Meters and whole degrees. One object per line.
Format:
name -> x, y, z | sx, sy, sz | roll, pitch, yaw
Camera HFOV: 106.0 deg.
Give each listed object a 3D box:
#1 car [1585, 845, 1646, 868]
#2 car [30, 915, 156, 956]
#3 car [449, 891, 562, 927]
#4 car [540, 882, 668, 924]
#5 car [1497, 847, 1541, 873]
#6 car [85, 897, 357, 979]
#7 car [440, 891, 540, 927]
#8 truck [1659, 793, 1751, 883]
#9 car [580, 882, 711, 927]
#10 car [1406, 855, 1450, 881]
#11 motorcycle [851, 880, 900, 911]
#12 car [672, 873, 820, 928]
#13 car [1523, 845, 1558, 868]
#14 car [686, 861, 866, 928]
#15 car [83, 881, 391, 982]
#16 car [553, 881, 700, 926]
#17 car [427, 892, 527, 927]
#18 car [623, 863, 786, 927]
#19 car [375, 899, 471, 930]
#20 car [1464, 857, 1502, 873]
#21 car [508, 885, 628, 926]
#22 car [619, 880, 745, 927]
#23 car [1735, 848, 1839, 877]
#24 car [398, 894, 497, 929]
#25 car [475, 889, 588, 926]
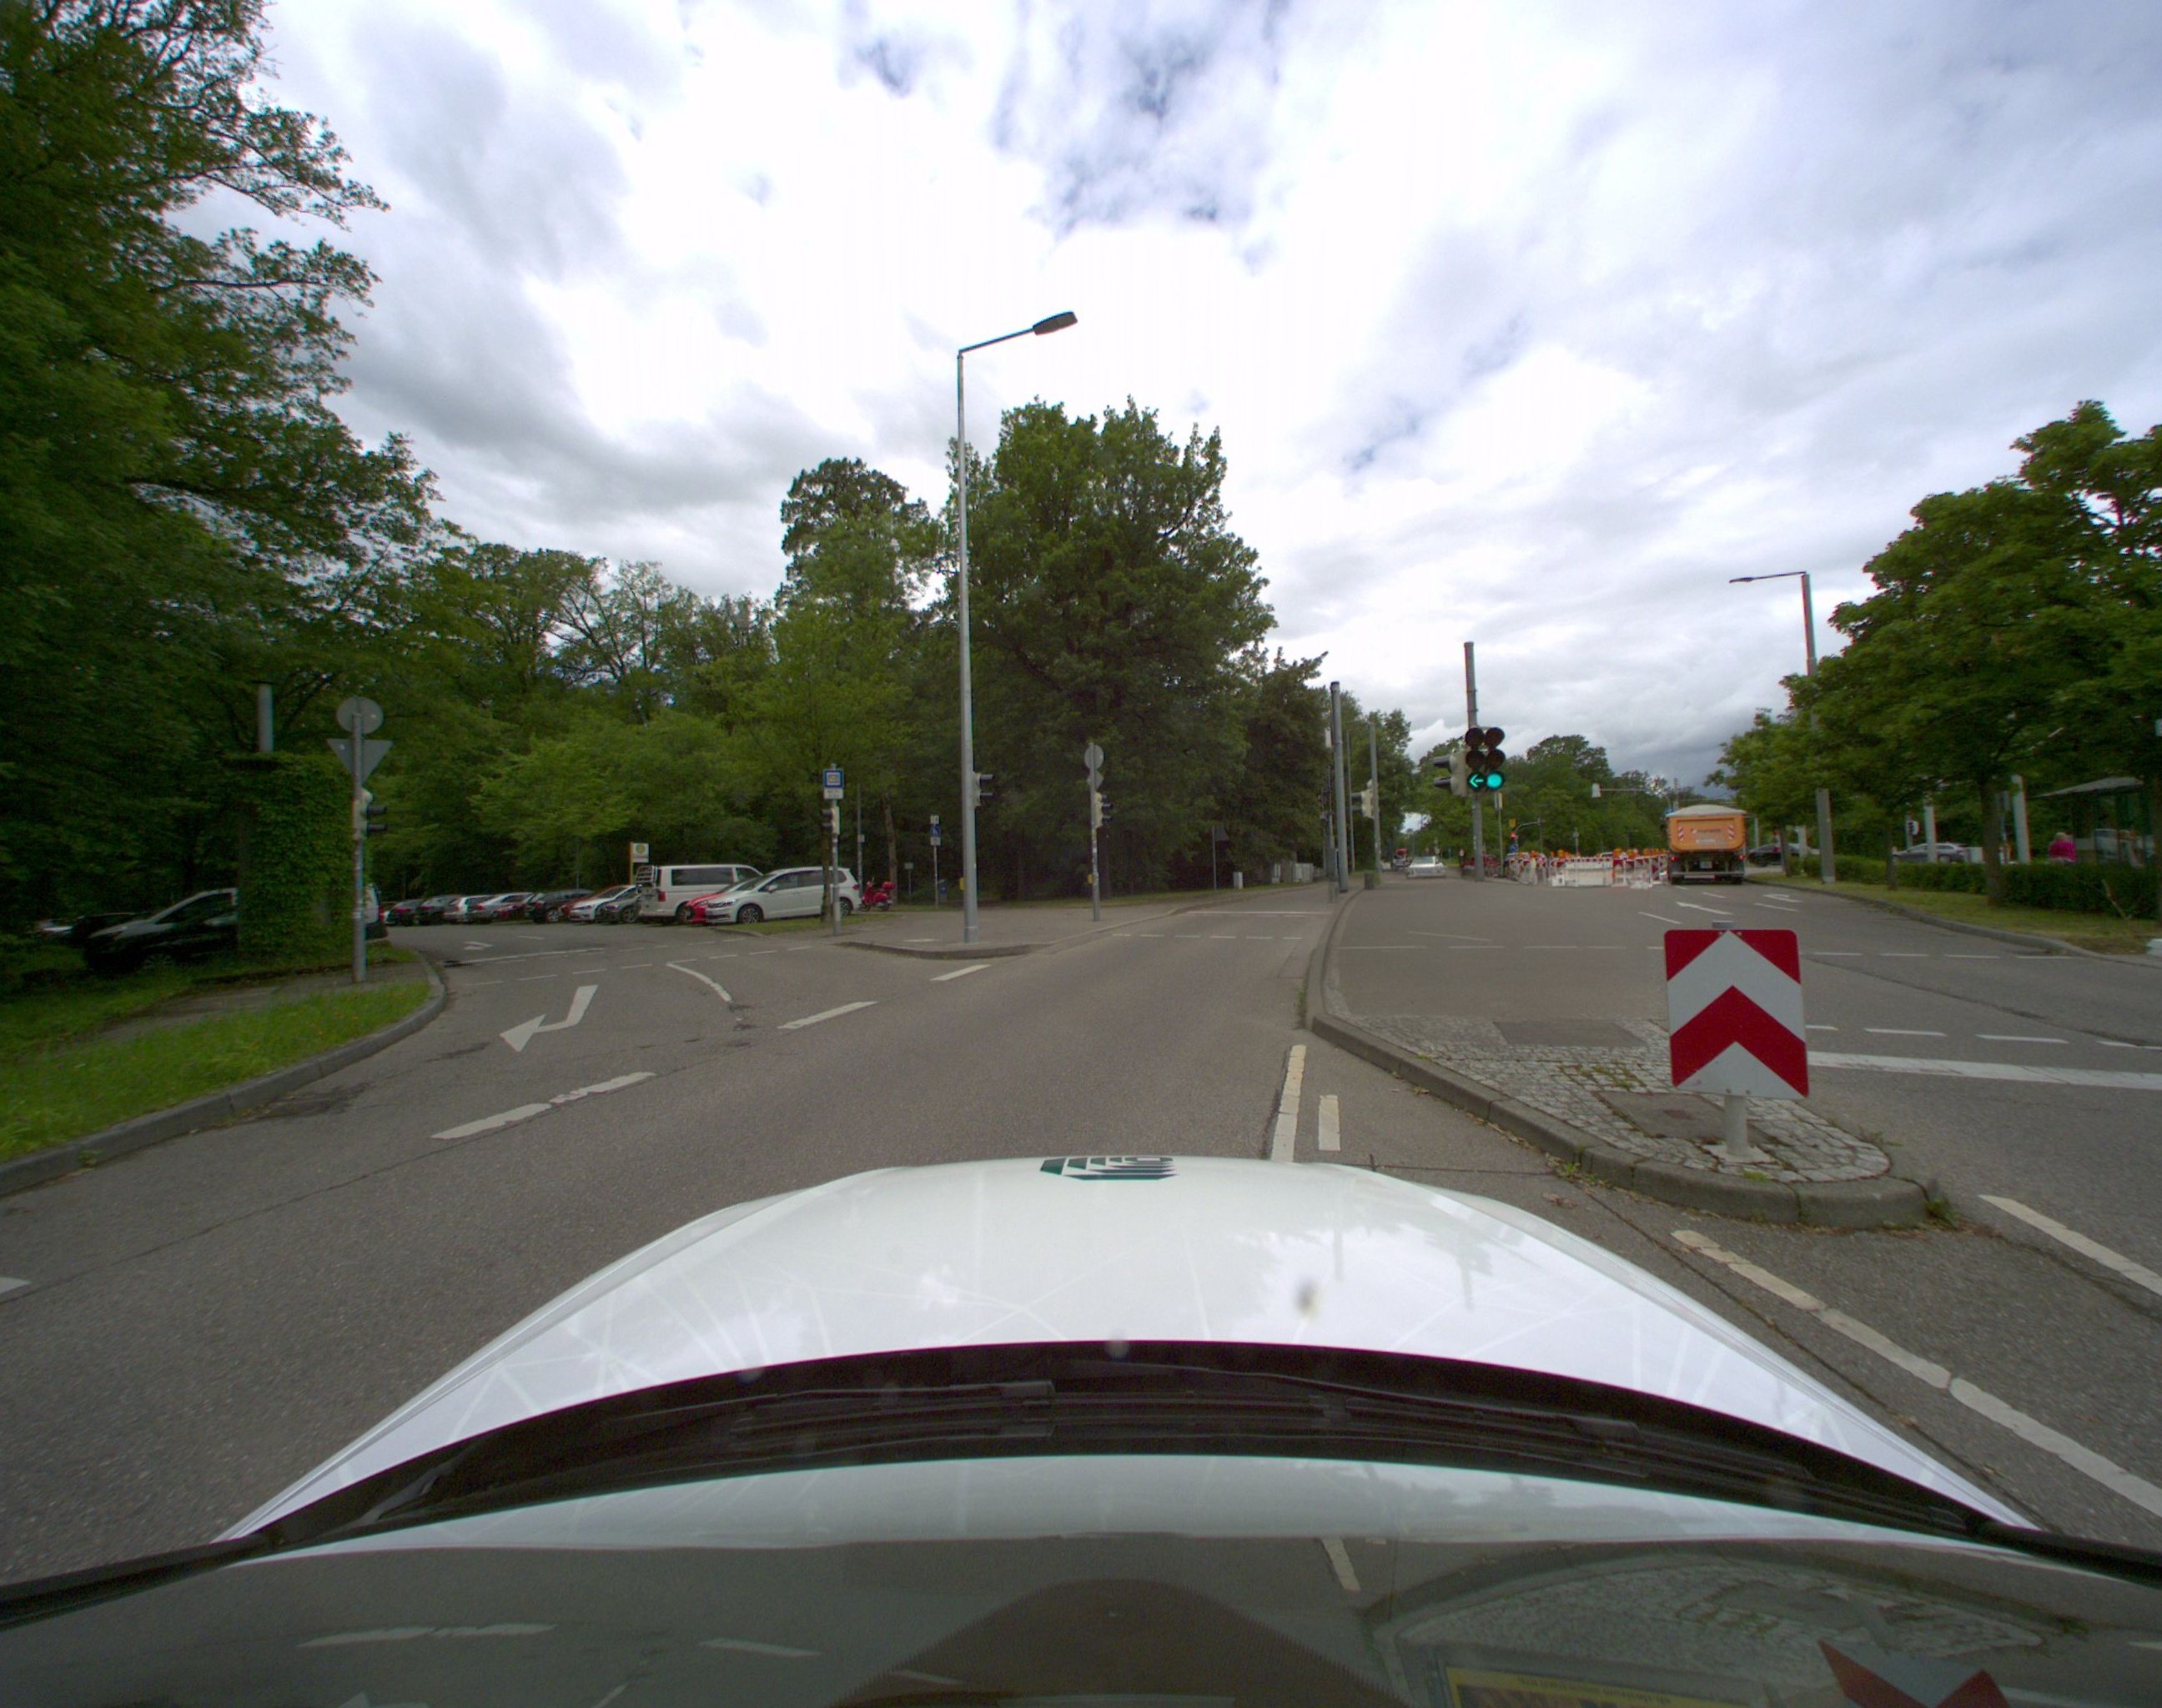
car -> 46.890, 0.246, 71.507 | 2.004, 1.882, 3.966 | 0, -1, -26
car -> -50.351, 4.110, 41.572 | 1.972, 1.628, 3.999 | -4, -1, 38
car -> -28.593, 2.717, 40.566 | 1.841, 1.461, 4.167 | -5, -2, 36
car -> -20.277, 2.071, 34.743 | 1.894, 1.480, 4.269 | -5, -2, 38
car -> 29.971, 0.414, 55.669 | 1.974, 1.717, 4.025 | -1, -1, 37
car -> -18.988, 1.779, 18.195 | 1.700, 1.379, 4.025 | -4, -1, 42
car -> -30.440, 2.816, 42.024 | 1.728, 1.511, 3.738 | -5, -2, 34
truck -> 27.570, -0.675, 36.160 | 2.831, 3.514, 8.301 | -3, -1, 37
car -> -16.656, 1.914, 31.285 | 1.853, 1.483, 4.025 | -6, -4, 40
car -> 24.281, 0.956, 56.882 | 1.974, 1.750, 4.608 | -1, -1, 34
motorcycle -> -7.968, 1.606, 31.580 | 1.985, 1.160, 0.681 | -3, -1, 35
car -> -10.813, 1.454, 26.398 | 4.032, 1.555, 1.923 | 0, -2, -42
car -> 34.968, 0.215, 61.946 | 1.779, 1.738, 3.726 | -1, -1, 37
car -> -9.140, 1.178, 24.617 | 4.560, 1.693, 2.139 | -2, -2, -43
car -> -20.831, 1.809, 20.414 | 1.953, 1.915, 5.134 | -4, -1, 43
car -> -18.289, 1.956, 32.967 | 1.829, 1.476, 4.817 | -3, -1, 41
car -> -32.124, 2.943, 43.433 | 1.708, 1.546, 3.880 | -4, -1, 32
car -> -12.901, 1.344, 28.142 | 2.057, 2.021, 4.692 | -2, -2, 42
car -> -36.848, 3.364, 45.696 | 1.751, 1.481, 3.804 | -3, -1, 29
car -> 48.790, 1.392, 98.889 | 1.998, 1.882, 3.978 | 0, -1, -16
car -> -22.564, 2.244, 35.926 | 1.897, 1.483, 4.026 | -4, -1, 38
car -> -14.672, 1.766, 30.066 | 1.822, 1.555, 3.758 | -1, -1, 40
car -> 50.263, 0.620, 58.131 | 1.997, 2.014, 5.406 | 0, -1, -16
car -> -34.397, 3.118, 44.290 | 1.924, 1.590, 3.804 | -3, -1, 33
car -> -26.353, 2.562, 39.174 | 1.916, 1.450, 4.026 | -4, -1, 34
